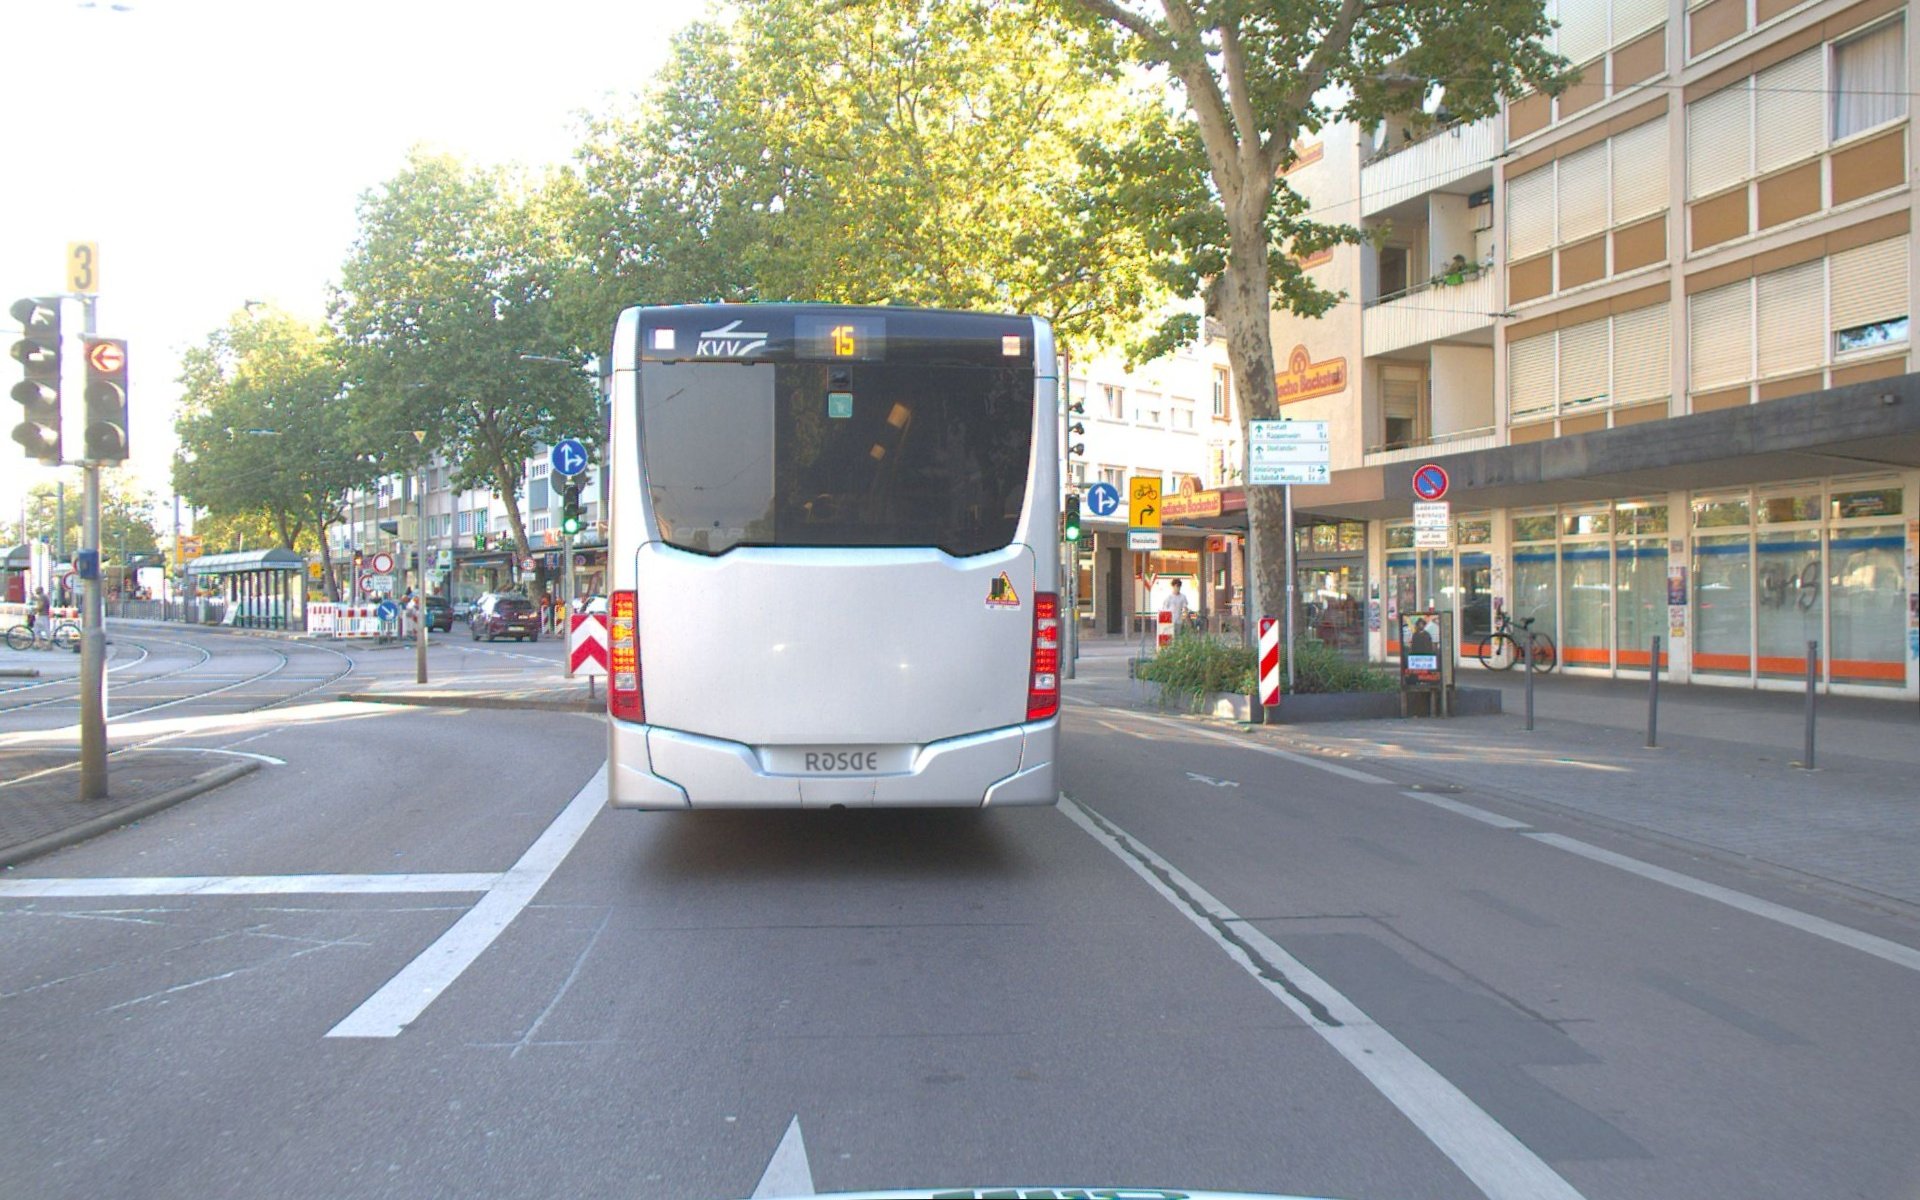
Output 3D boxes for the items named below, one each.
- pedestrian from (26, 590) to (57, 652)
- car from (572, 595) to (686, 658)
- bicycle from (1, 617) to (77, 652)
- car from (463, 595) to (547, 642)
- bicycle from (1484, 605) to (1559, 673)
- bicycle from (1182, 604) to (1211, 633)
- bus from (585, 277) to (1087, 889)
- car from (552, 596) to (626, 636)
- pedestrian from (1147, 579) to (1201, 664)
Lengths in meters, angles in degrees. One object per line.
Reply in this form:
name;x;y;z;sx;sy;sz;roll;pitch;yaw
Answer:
pedestrian;-25.843;0.585;46.528;0.715;1.755;0.394;0;0;-39
car;-8.337;0.628;41.436;1.736;1.489;3.962;0;0;-28
bicycle;-26.107;0.967;46.891;1.828;0.959;0.457;0;0;-39
car;-15.011;0.584;54.431;1.738;1.489;3.959;0;0;-30
bicycle;9.707;0.665;28.645;0.430;1.111;1.455;-3;1;-16
bicycle;8.984;0.700;62.821;0.289;1.059;1.711;-3;-2;37
bus;-1.059;-0.072;13.721;2.606;3.153;10.205;0;0;-5
car;-14.698;0.618;65.419;1.649;1.419;3.370;-4;2;-35
pedestrian;4.520;0.452;34.972;0.823;1.742;0.788;-2;1;-21
